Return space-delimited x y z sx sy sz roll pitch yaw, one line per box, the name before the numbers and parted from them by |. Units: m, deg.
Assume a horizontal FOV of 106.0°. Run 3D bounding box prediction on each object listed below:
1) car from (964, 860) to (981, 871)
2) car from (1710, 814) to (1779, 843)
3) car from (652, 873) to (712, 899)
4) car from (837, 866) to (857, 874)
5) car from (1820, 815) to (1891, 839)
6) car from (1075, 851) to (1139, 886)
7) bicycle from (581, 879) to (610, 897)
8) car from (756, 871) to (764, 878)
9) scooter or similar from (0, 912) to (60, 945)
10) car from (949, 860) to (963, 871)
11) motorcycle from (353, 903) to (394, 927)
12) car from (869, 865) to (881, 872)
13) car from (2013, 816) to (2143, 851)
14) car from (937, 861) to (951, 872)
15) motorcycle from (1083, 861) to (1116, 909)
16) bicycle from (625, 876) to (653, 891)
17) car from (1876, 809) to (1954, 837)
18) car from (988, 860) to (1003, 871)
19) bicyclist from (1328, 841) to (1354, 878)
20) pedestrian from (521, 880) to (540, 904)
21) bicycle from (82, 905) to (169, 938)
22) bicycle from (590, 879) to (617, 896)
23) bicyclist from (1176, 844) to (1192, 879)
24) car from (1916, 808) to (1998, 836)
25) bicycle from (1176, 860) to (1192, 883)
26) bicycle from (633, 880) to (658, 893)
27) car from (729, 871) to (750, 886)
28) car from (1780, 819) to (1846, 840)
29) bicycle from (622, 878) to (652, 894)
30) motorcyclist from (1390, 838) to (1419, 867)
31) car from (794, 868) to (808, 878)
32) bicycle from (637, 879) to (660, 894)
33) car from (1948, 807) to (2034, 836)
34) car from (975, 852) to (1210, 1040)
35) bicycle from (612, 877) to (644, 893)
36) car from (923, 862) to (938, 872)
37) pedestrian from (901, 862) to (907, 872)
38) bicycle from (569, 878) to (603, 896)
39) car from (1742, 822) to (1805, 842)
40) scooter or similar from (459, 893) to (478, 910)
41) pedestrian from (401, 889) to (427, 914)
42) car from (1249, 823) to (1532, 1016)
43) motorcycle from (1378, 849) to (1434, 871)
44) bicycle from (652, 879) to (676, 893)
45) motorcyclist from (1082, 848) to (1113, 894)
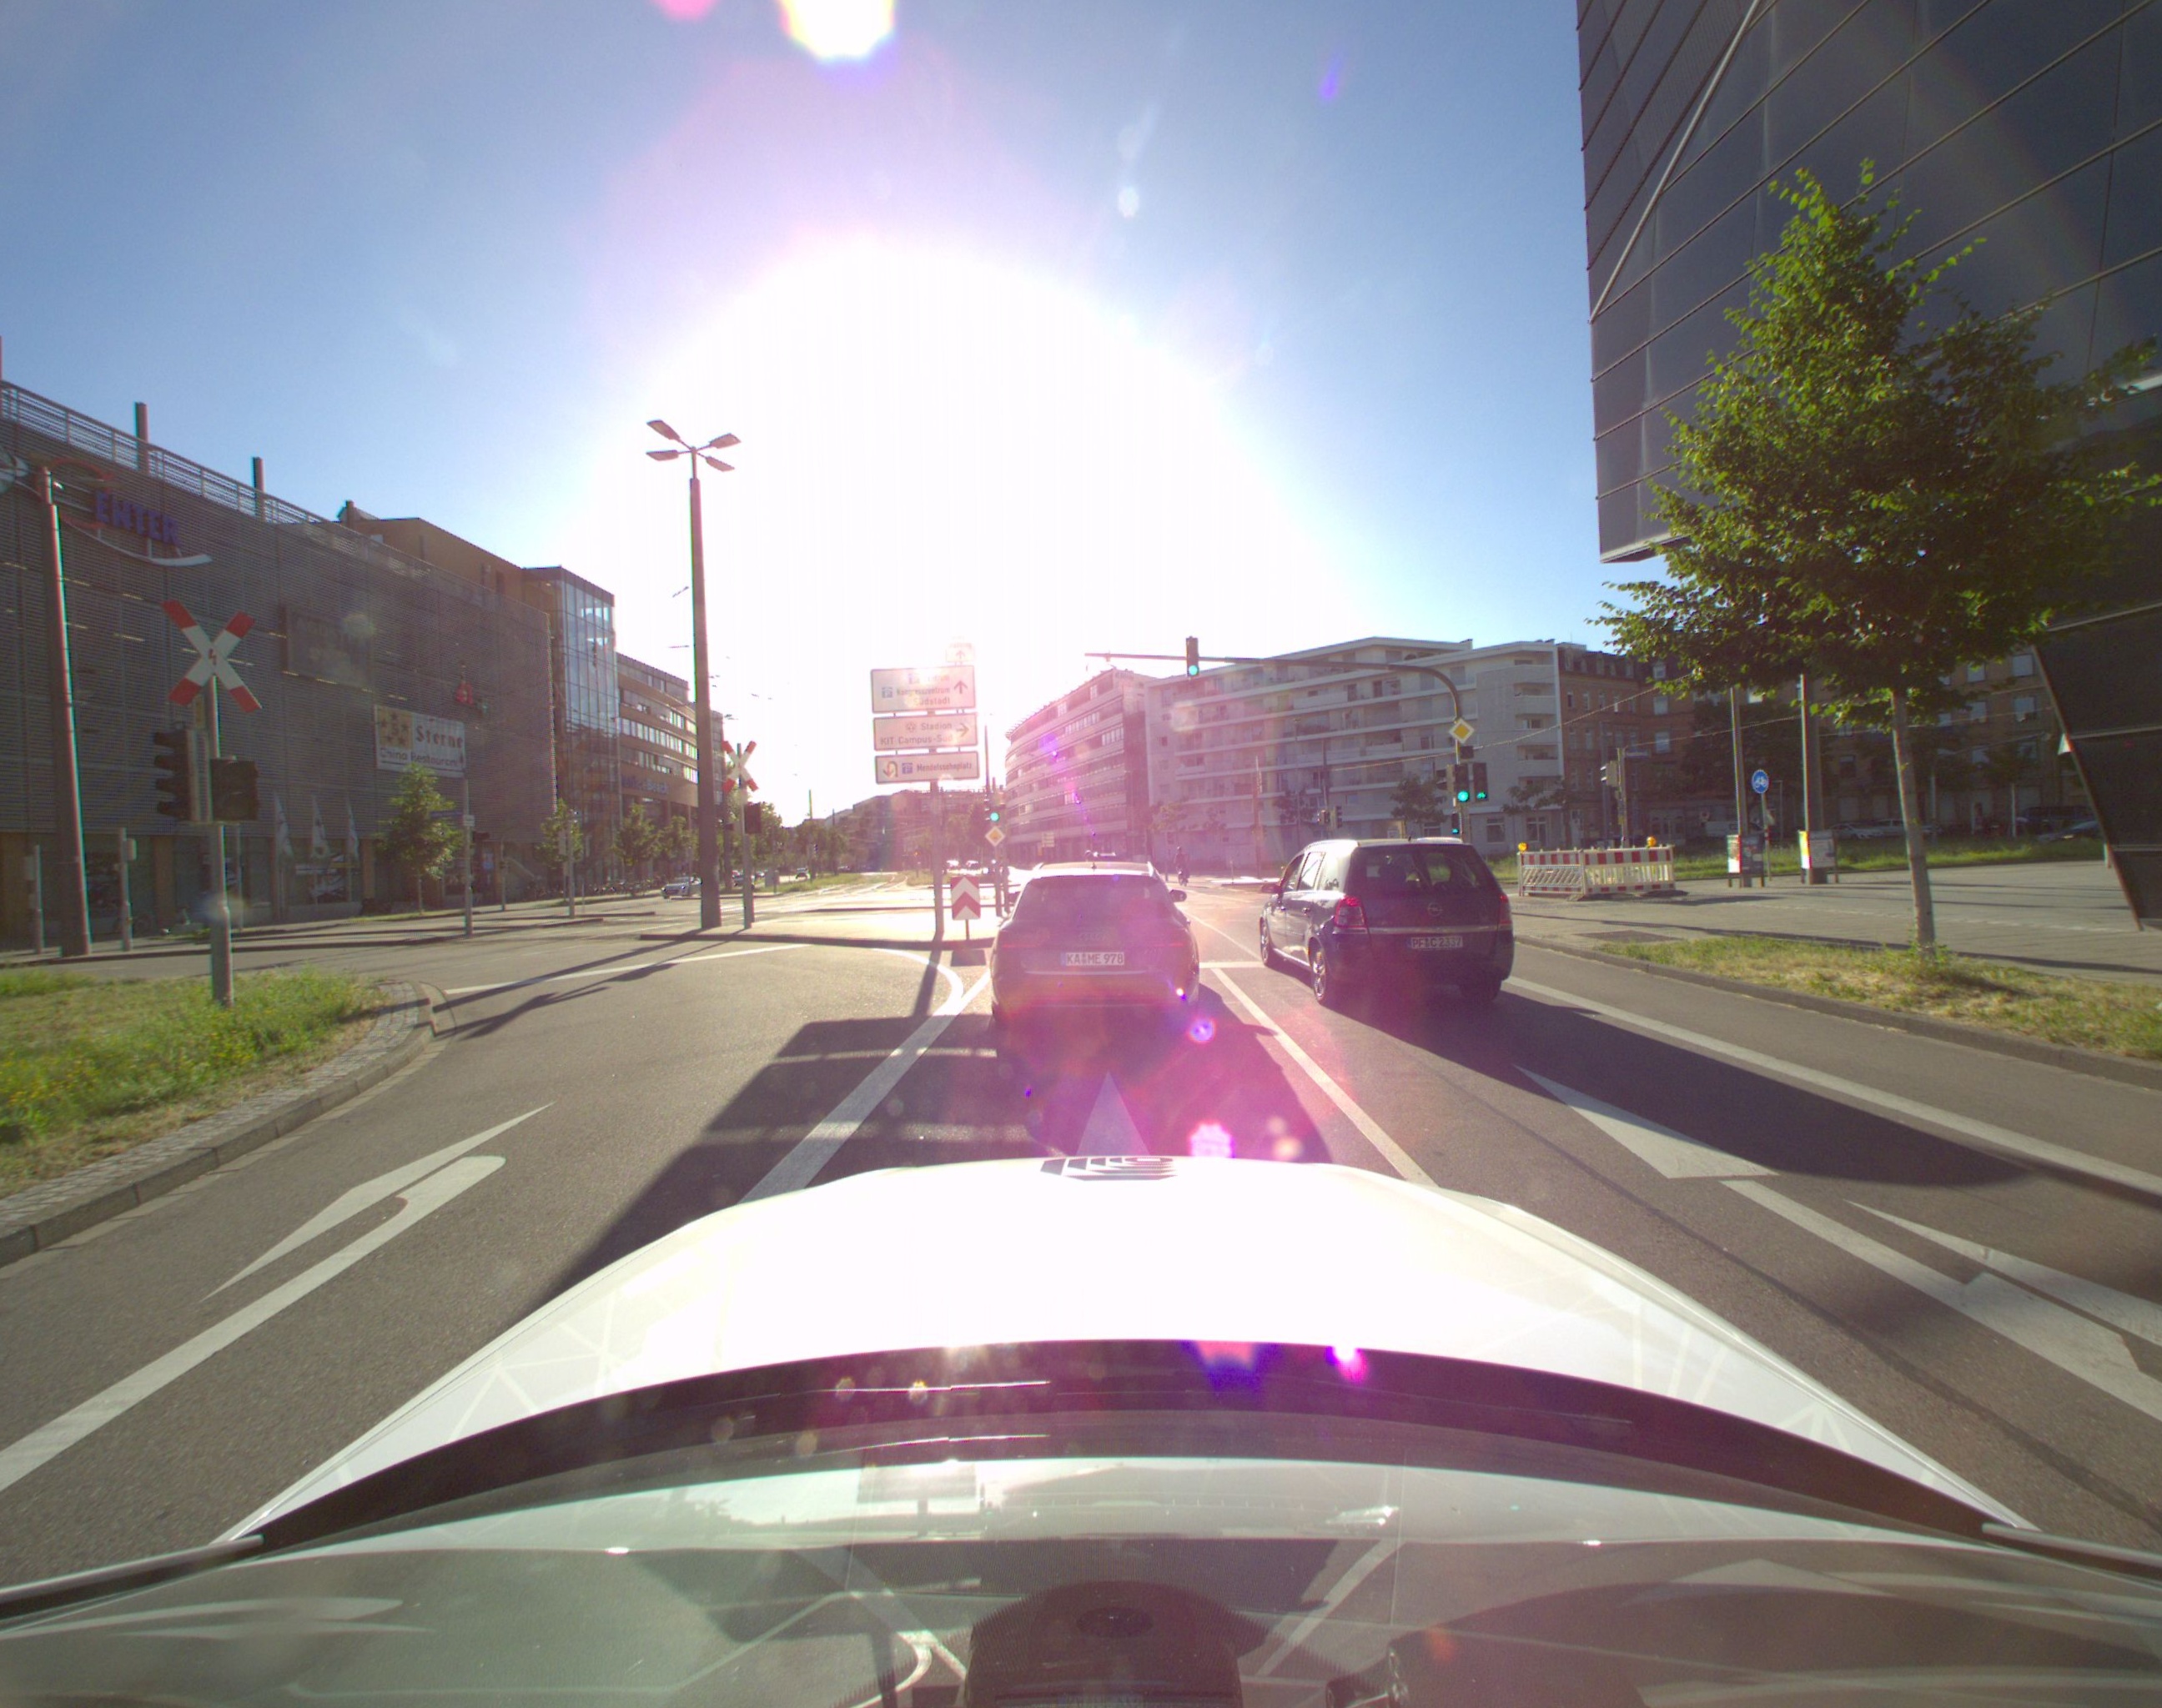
car | -17.816 1.954 133.780 1.999 1.596 3.976 -3 -1 -17
car | 58.557 -2.200 71.948 4.543 2.310 2.013 -3 -1 40
car | -27.913 2.194 57.205 1.988 1.545 4.527 -2 0 -1
car | -50.105 3.419 174.295 1.977 1.706 4.020 -4 -1 19
car | 58.361 -2.012 61.465 1.981 1.486 4.012 -3 -1 11
car | 1.320 0.710 43.088 2.008 1.715 4.345 -1 0 -18
bicycle | -43.800 3.051 73.477 2.070 1.433 0.863 -3 -1 10
car | -78.999 5.013 200.574 1.658 1.588 3.330 -2 0 -26
scooter or similar | -43.851 3.090 33.830 0.790 1.207 1.575 -4 -2 2
car | -20.955 1.970 136.268 1.996 1.596 3.981 -3 -1 -14
motorcycle | -41.892 3.594 48.238 0.673 1.238 1.894 -3 -1 1
car | -49.027 3.370 193.551 1.991 1.640 4.403 -2 0 -6
car | 49.229 -1.001 40.259 4.229 1.400 1.768 -2 -3 -2
car | -23.907 2.124 142.091 1.998 1.706 3.977 -3 -1 -17
motorcycle | 0.562 0.916 24.921 0.860 1.393 1.892 -2 -1 -2
bicycle | -47.296 3.163 87.142 2.591 1.433 0.773 -3 -1 10
car | 60.970 -2.246 59.660 1.981 1.772 4.012 -3 -1 11
car | -15.323 2.073 145.968 1.996 1.838 3.981 -3 -1 -14
bicyclist | 12.278 0.254 38.490 0.767 1.706 0.925 -2 -1 -15
pedestrian | -42.736 2.932 63.232 0.823 1.824 0.905 -4 -2 3
bicycle | -41.948 2.942 35.811 0.796 1.220 2.418 -3 0 5
bicycle | -43.722 3.079 74.585 1.965 1.433 0.809 -3 -1 10
bicyclist | 5.018 0.356 39.683 0.651 1.642 0.973 -2 0 5
car | 63.330 -2.284 58.946 1.981 1.772 4.012 -3 -1 11
bicycle | 4.997 0.834 39.684 0.651 1.043 1.932 -2 0 5
bicycle | -47.396 3.529 88.567 2.399 1.236 0.747 -3 -1 10
car | -37.314 2.658 89.107 1.901 1.407 3.972 -3 0 -21
car | 56.249 -1.877 62.671 1.981 1.354 4.012 -3 -1 11
bicycle | -43.923 3.141 80.626 2.546 1.433 0.907 -3 -1 10
motorcyclist | 17.118 -0.064 43.090 0.923 1.481 1.169 -2 -1 -5
car | -45.734 3.089 133.074 2.000 1.640 4.383 -2 0 -19
bicycle | -47.515 3.559 89.419 2.231 1.433 0.720 -3 -1 10
car | 66.106 -2.316 59.240 1.983 1.772 4.008 -3 -1 7
car | 0.139 0.718 8.419 1.835 1.454 4.001 -1 0 1
bicycle | -43.590 2.983 78.369 2.546 1.433 0.907 -3 -1 10
car | -26.125 2.264 141.320 1.998 1.706 3.977 -3 -1 -17
pedestrian | -32.619 2.394 149.810 0.904 1.824 0.825 -3 -2 -15
bicycle | -44.002 2.953 72.409 2.355 1.433 1.079 -3 -1 10
car | 54.045 -1.680 63.660 1.981 1.354 4.012 -3 -1 11
scooter or similar | -43.023 3.314 57.221 0.419 1.110 1.153 -4 -2 2
pedestrian | -44.384 3.175 54.196 0.984 1.566 0.829 -4 -2 1
car | 3.176 0.591 9.345 1.739 1.696 4.262 0 0 2
motorcycle | 17.183 0.322 43.089 2.449 1.000 1.169 -2 0 -6
bicycle | -47.401 3.597 92.631 2.405 1.433 0.791 -3 -1 10
motorcyclist | 0.507 0.514 24.846 0.860 1.326 0.681 -2 -1 -2
